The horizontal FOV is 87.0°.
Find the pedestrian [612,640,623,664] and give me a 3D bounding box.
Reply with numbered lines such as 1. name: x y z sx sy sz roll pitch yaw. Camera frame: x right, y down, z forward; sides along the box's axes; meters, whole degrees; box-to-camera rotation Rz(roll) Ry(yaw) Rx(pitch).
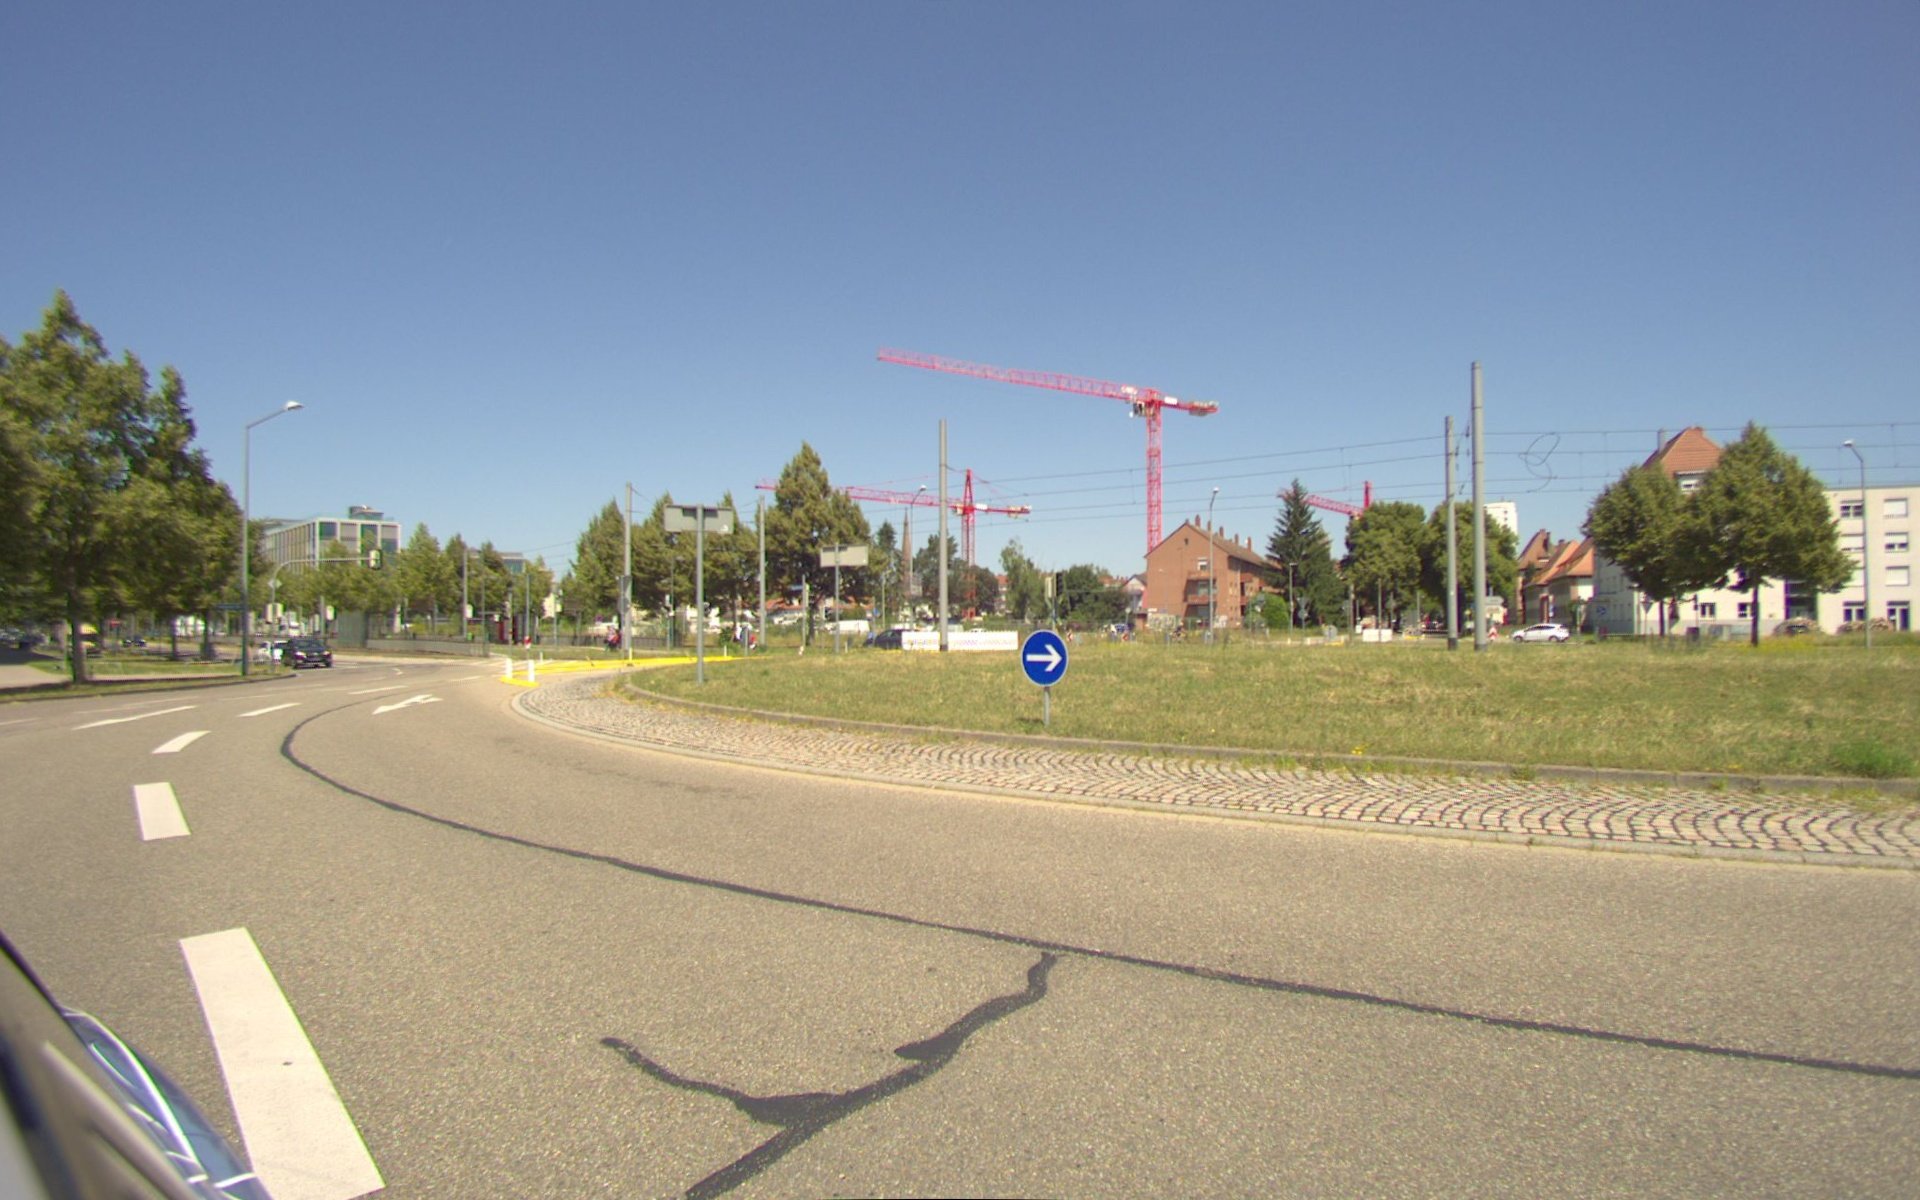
1. pedestrian: -20.452 3.091 60.389 0.587 1.417 0.545 0 -2 -24

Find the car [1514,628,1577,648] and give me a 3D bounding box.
1. car: 45.004 2.881 77.831 3.901 1.431 1.691 0 -2 44

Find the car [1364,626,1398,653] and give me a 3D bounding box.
1. car: 33.405 3.113 80.193 1.993 2.029 3.958 0 -1 31

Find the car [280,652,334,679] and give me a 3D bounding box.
1. car: -34.001 3.366 52.672 1.715 1.221 3.569 2 -2 -44

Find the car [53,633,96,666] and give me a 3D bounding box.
1. car: -69.156 3.837 79.003 3.998 2.527 1.973 -2 -2 41

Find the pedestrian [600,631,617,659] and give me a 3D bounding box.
1. pedestrian: -21.208 2.729 61.101 0.748 1.652 0.783 2 -1 -34

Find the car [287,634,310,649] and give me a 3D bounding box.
1. car: -98.619 6.196 150.851 3.901 2.029 1.972 0 -2 42

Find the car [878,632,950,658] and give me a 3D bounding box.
1. car: -2.728 2.689 60.768 3.961 1.475 1.991 1 -1 14

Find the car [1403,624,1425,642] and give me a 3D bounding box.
1. car: 52.572 3.847 117.144 1.993 2.029 3.958 0 -1 31

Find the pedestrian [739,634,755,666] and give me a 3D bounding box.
1. pedestrian: -13.615 3.186 64.820 0.734 2.029 0.734 2 -1 -35

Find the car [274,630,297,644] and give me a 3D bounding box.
1. car: -105.211 5.783 157.842 3.901 2.029 1.972 0 -2 42

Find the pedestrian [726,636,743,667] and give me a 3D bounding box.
1. pedestrian: -14.287 3.258 64.212 0.801 1.913 0.734 2 -1 -35

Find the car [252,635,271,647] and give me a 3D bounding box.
1. car: -120.396 7.081 174.408 1.971 2.029 4.002 2 -2 -45

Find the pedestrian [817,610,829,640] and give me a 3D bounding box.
1. pedestrian: -9.310 1.677 68.792 0.603 2.029 0.586 0 -2 44

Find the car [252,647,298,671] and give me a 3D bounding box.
1. car: -38.361 3.283 56.663 1.553 1.234 3.326 2 -2 -44

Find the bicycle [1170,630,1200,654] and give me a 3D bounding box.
1. bicycle: 16.081 2.989 72.311 2.061 1.697 0.558 1 -1 8
